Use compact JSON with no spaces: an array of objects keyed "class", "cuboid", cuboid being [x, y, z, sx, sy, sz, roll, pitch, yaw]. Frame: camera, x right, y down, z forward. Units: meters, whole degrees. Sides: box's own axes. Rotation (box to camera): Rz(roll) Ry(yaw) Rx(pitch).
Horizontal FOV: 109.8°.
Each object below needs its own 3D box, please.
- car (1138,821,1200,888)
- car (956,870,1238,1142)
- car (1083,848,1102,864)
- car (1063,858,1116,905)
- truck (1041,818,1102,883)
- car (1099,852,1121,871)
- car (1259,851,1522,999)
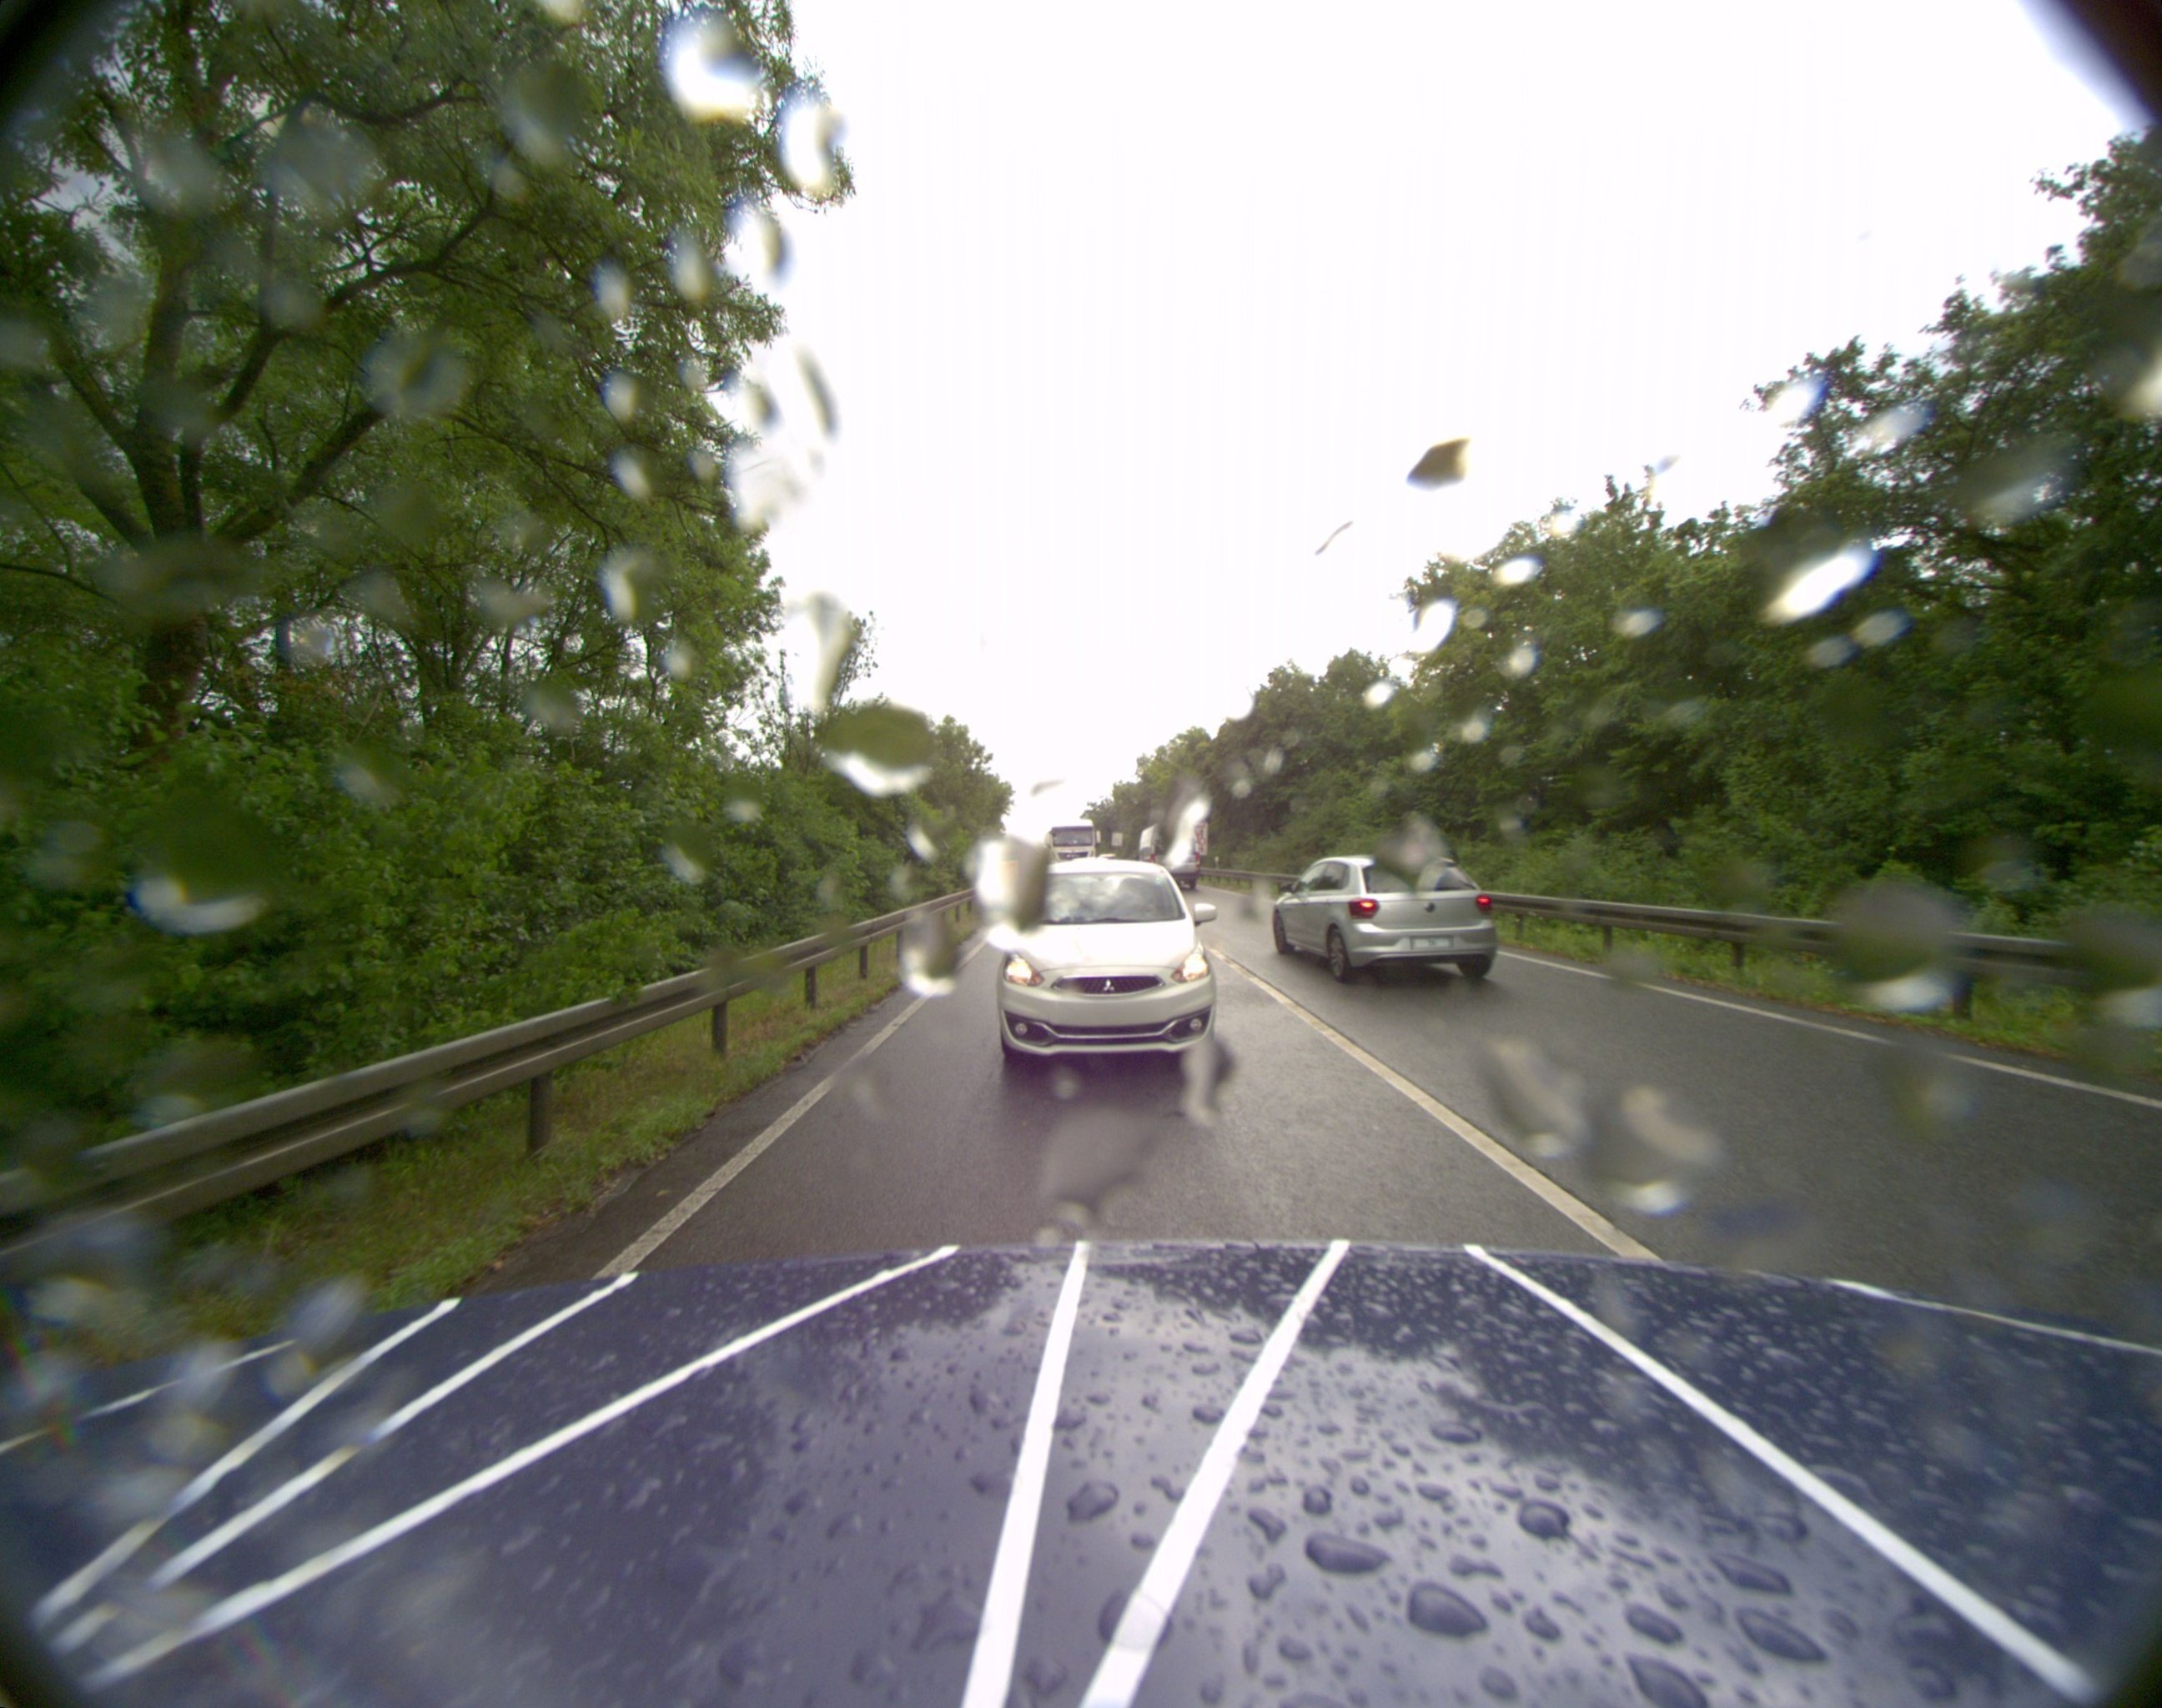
[{"class":"car","cuboid":[3.817,-0.023,34.041,2.053,2.661,6.170,-2,1,0]},{"class":"car","cuboid":[0.114,0.944,6.591,1.610,1.435,4.209,-2,0,0]},{"class":"car","cuboid":[1.248,0.244,84.646,1.852,1.634,4.296,-2,0,-3]},{"class":"car","cuboid":[0.226,0.869,26.296,1.640,1.413,4.491,-2,0,-1]},{"class":"truck","cuboid":[-0.637,-0.235,45.114,3.136,3.364,9.280,-2,1,-2]},{"class":"car","cuboid":[2.540,0.650,67.332,1.696,1.547,4.441,-2,1,-1]},{"class":"car","cuboid":[3.641,0.721,9.738,1.733,1.423,3.848,-2,1,-1]}]
